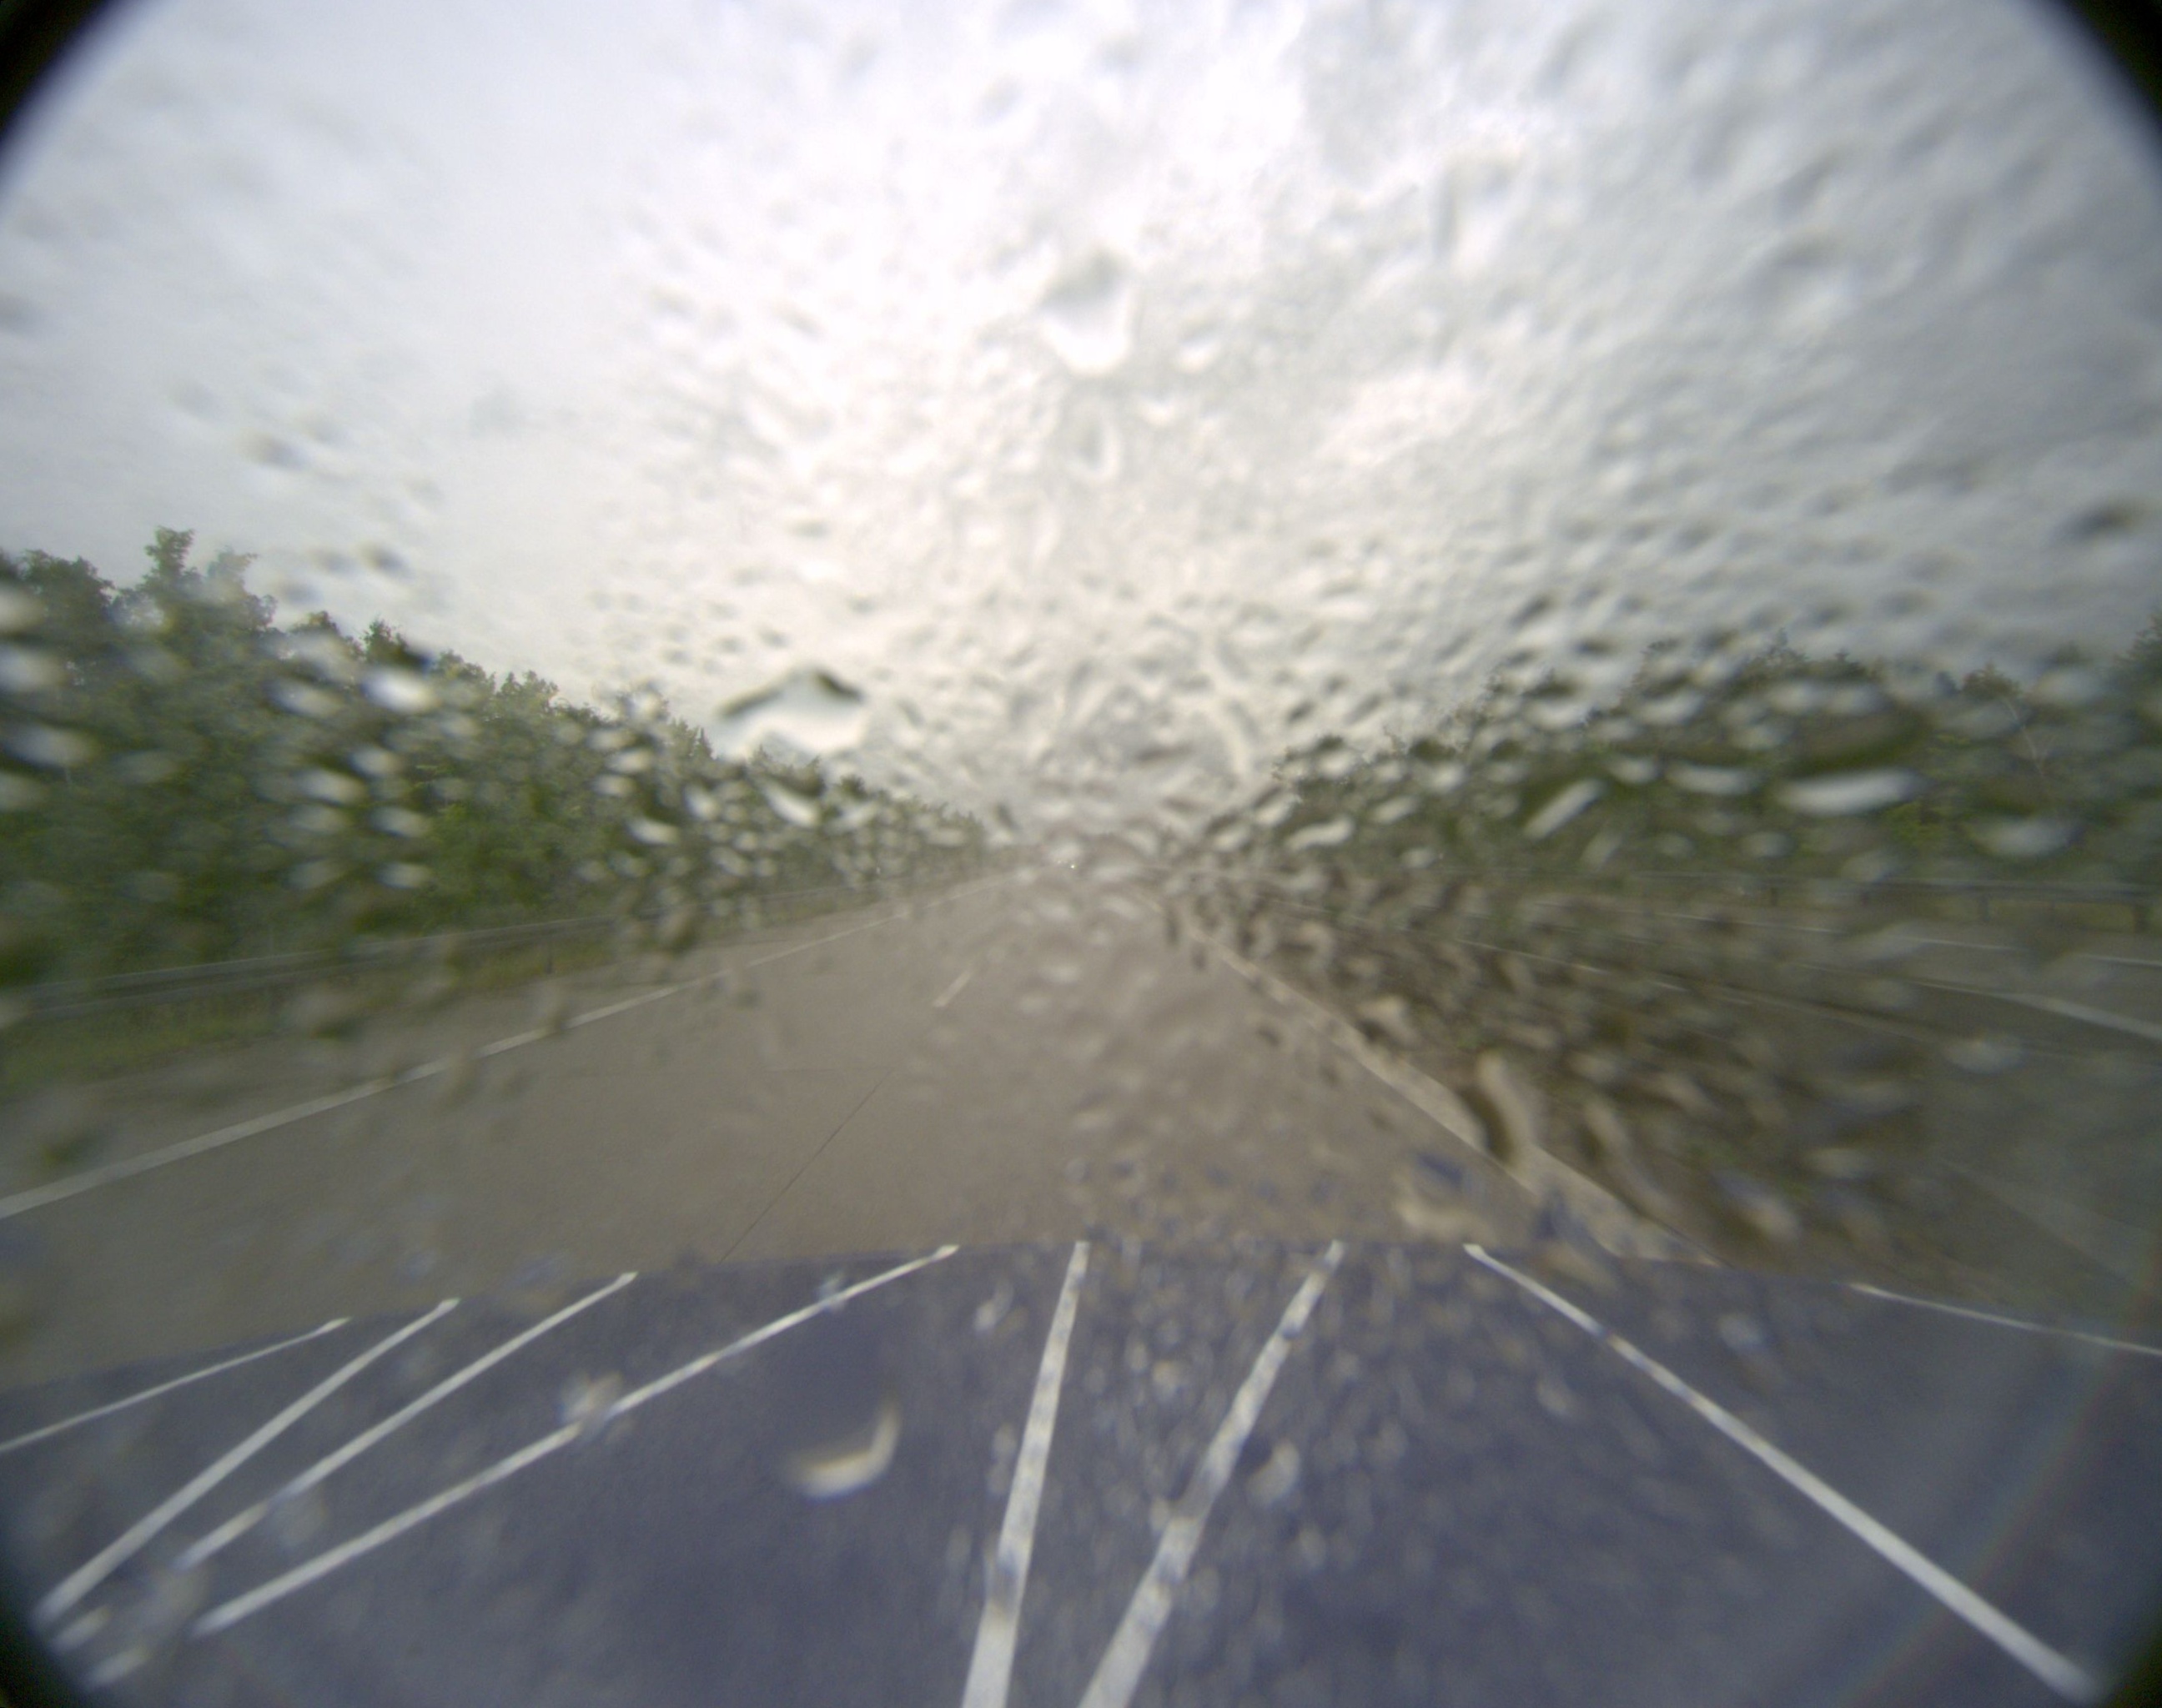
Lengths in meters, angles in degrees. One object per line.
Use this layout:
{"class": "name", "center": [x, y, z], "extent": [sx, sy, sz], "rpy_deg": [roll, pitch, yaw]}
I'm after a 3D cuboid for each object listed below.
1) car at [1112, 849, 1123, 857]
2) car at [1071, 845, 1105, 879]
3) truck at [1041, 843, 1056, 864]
{"class": "car", "center": [7.911, -0.204, 164.447], "extent": [1.999, 1.573, 3.999], "rpy_deg": [-1, 0, -2]}
{"class": "car", "center": [0.419, 0.543, 49.885], "extent": [1.796, 2.113, 4.523], "rpy_deg": [1, -2, -5]}
{"class": "truck", "center": [-6.536, -0.136, 153.585], "extent": [2.767, 4.063, 5.436], "rpy_deg": [1, -1, -5]}
